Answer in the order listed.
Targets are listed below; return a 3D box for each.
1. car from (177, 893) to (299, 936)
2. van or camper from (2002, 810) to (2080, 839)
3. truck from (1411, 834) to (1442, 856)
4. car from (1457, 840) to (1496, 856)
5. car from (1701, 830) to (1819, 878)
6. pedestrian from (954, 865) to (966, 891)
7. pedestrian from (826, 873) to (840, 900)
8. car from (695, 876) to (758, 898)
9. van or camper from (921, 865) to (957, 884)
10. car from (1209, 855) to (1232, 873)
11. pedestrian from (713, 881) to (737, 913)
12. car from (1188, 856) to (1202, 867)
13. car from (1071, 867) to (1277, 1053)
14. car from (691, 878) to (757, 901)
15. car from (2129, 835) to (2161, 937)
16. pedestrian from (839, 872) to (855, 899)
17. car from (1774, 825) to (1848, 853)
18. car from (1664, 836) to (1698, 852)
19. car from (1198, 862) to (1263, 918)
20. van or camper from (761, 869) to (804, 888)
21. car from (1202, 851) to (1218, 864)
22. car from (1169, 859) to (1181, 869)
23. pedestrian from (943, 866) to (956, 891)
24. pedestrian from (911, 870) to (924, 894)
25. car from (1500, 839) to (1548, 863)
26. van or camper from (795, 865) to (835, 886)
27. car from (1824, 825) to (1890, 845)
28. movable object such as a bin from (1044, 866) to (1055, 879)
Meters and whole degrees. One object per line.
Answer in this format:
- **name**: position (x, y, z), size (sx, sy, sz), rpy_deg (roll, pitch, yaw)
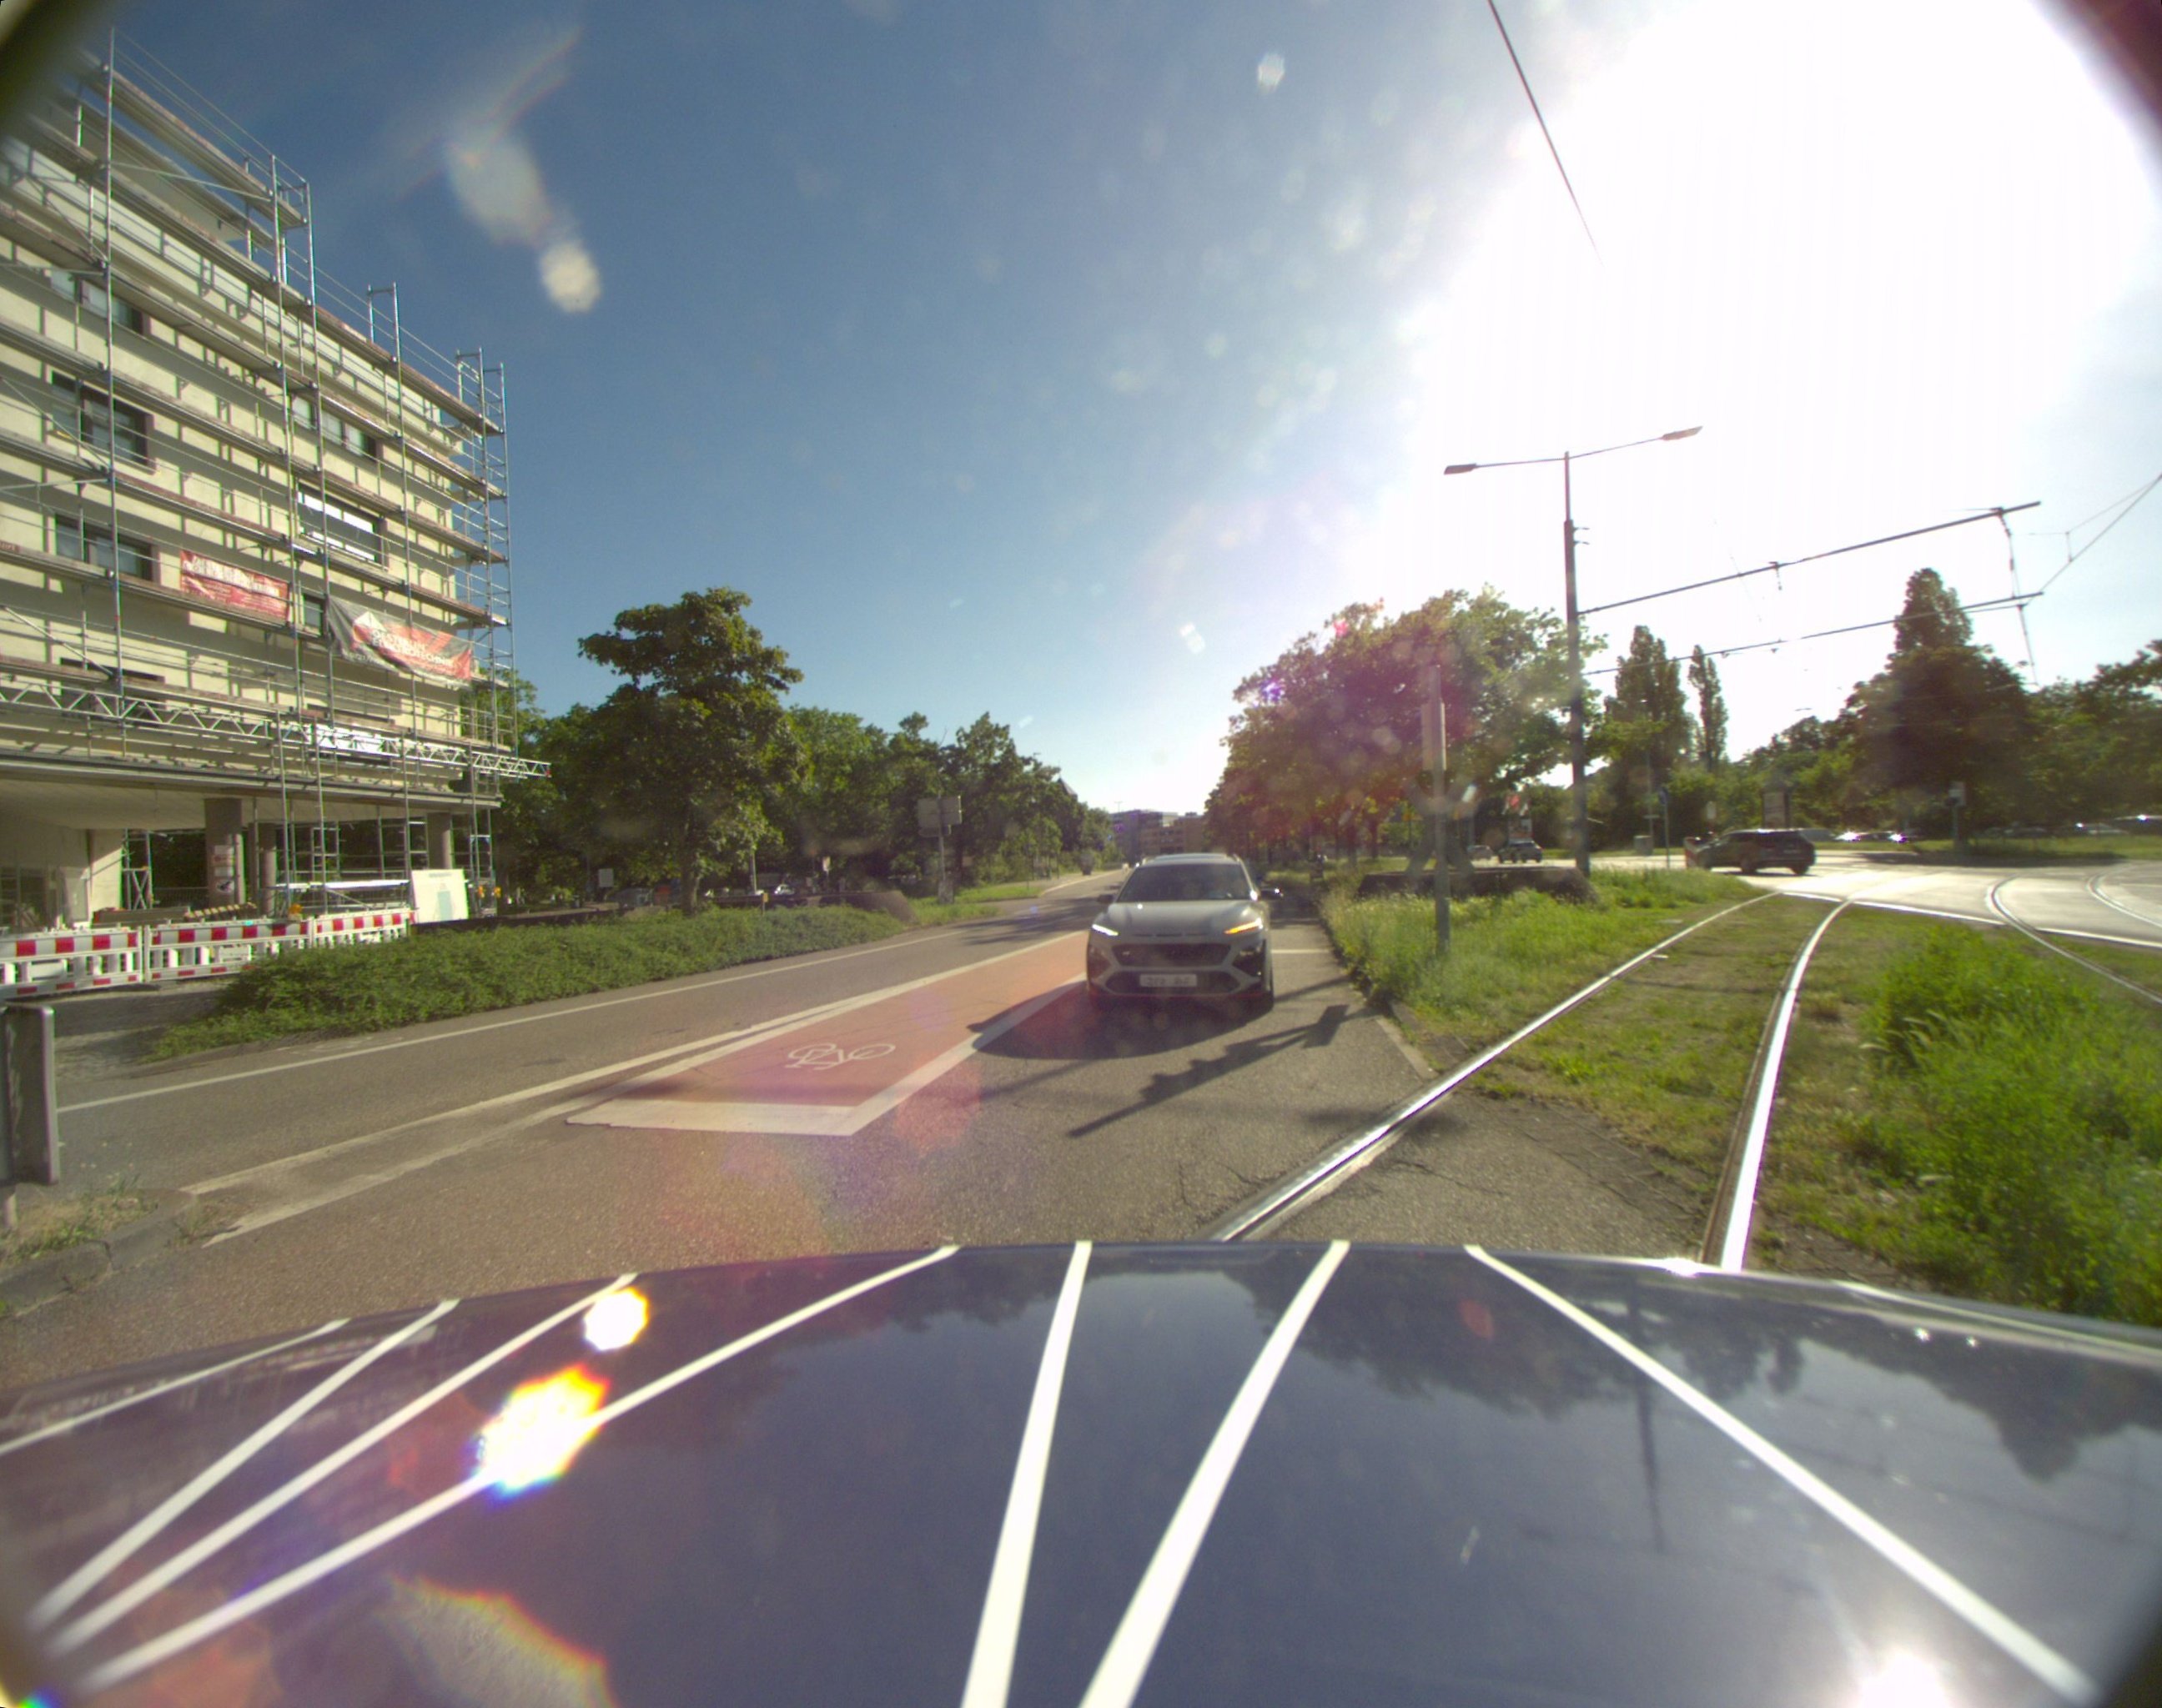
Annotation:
- **car**: position (-49.437, 3.506, 44.697), size (1.997, 2.061, 4.355), rpy_deg (-3, 0, 10)
- **van or camper**: position (76.000, -2.258, 60.255), size (1.995, 2.084, 4.408), rpy_deg (-3, 0, 24)
- **truck**: position (40.350, -1.051, 88.869), size (1.792, 2.412, 4.111), rpy_deg (-3, 0, 3)
- **car**: position (38.844, -0.605, 74.685), size (1.667, 1.440, 4.403), rpy_deg (-3, 0, 3)
- **car**: position (25.662, -0.018, 28.920), size (1.755, 1.604, 4.730), rpy_deg (-3, 0, 21)
- **pedestrian**: position (-7.983, 1.601, 50.126), size (0.603, 1.690, 0.410), rpy_deg (-3, 0, 7)
- **pedestrian**: position (-15.392, 2.040, 47.161), size (0.598, 1.610, 0.567), rpy_deg (-4, 1, 2)
- **car**: position (-25.240, 2.339, 54.179), size (3.648, 1.267, 1.623), rpy_deg (-3, 2, 2)
- **van or camper**: position (-15.235, 2.173, 81.837), size (2.456, 1.901, 5.329), rpy_deg (-3, 0, 3)
- **car**: position (11.574, 0.795, 62.953), size (1.780, 1.397, 4.003), rpy_deg (-3, 0, 11)
- **pedestrian**: position (-17.641, 2.114, 37.668), size (0.651, 1.488, 0.909), rpy_deg (-3, 0, -1)
- **car**: position (16.857, 1.092, 112.476), size (1.828, 1.464, 4.002), rpy_deg (-3, 0, 8)
- **car**: position (1.285, 0.997, 8.755), size (1.778, 1.542, 3.984), rpy_deg (-3, 0, 14)
- **car**: position (-24.066, 2.392, 51.275), size (3.585, 1.307, 1.623), rpy_deg (-3, 2, 2)
- **car**: position (15.337, 0.426, 8.580), size (1.731, 1.433, 4.890), rpy_deg (-4, -1, 22)
- **pedestrian**: position (-14.498, 1.976, 47.129), size (0.704, 1.610, 0.567), rpy_deg (-4, 1, 2)
- **car**: position (59.246, -1.184, 61.679), size (5.003, 2.002, 2.236), rpy_deg (-3, 0, -18)
- **car**: position (58.197, -0.978, 73.756), size (1.818, 1.439, 4.007), rpy_deg (-3, 0, 27)
- **car**: position (4.647, 1.024, 23.256), size (1.709, 1.455, 4.004), rpy_deg (-3, 0, 13)
- **van or camper**: position (-33.945, 2.799, 86.593), size (2.456, 1.901, 5.329), rpy_deg (-3, 0, 3)
- **car**: position (16.220, 0.412, 95.395), size (1.743, 1.539, 4.004), rpy_deg (-4, -1, 13)
- **car**: position (16.752, 1.751, 134.970), size (1.997, 1.523, 4.003), rpy_deg (-2, 0, 7)
- **pedestrian**: position (-8.621, 1.586, 49.747), size (0.623, 1.625, 0.552), rpy_deg (-3, 0, 8)
- **pedestrian**: position (-10.427, 1.785, 48.512), size (0.528, 1.509, 0.614), rpy_deg (-3, 0, 10)
- **car**: position (31.678, -0.252, 54.481), size (1.996, 1.553, 4.392), rpy_deg (-3, 0, 18)
- **van or camper**: position (-30.198, 2.419, 86.458), size (2.456, 2.146, 5.328), rpy_deg (-3, 0, 2)
- **car**: position (59.715, -1.434, 58.473), size (4.003, 1.274, 1.997), rpy_deg (-3, 0, -18)
- **movable object such as a bin**: position (-2.567, 1.494, 62.028), size (0.728, 1.024, 0.578), rpy_deg (-3, 0, 7)
